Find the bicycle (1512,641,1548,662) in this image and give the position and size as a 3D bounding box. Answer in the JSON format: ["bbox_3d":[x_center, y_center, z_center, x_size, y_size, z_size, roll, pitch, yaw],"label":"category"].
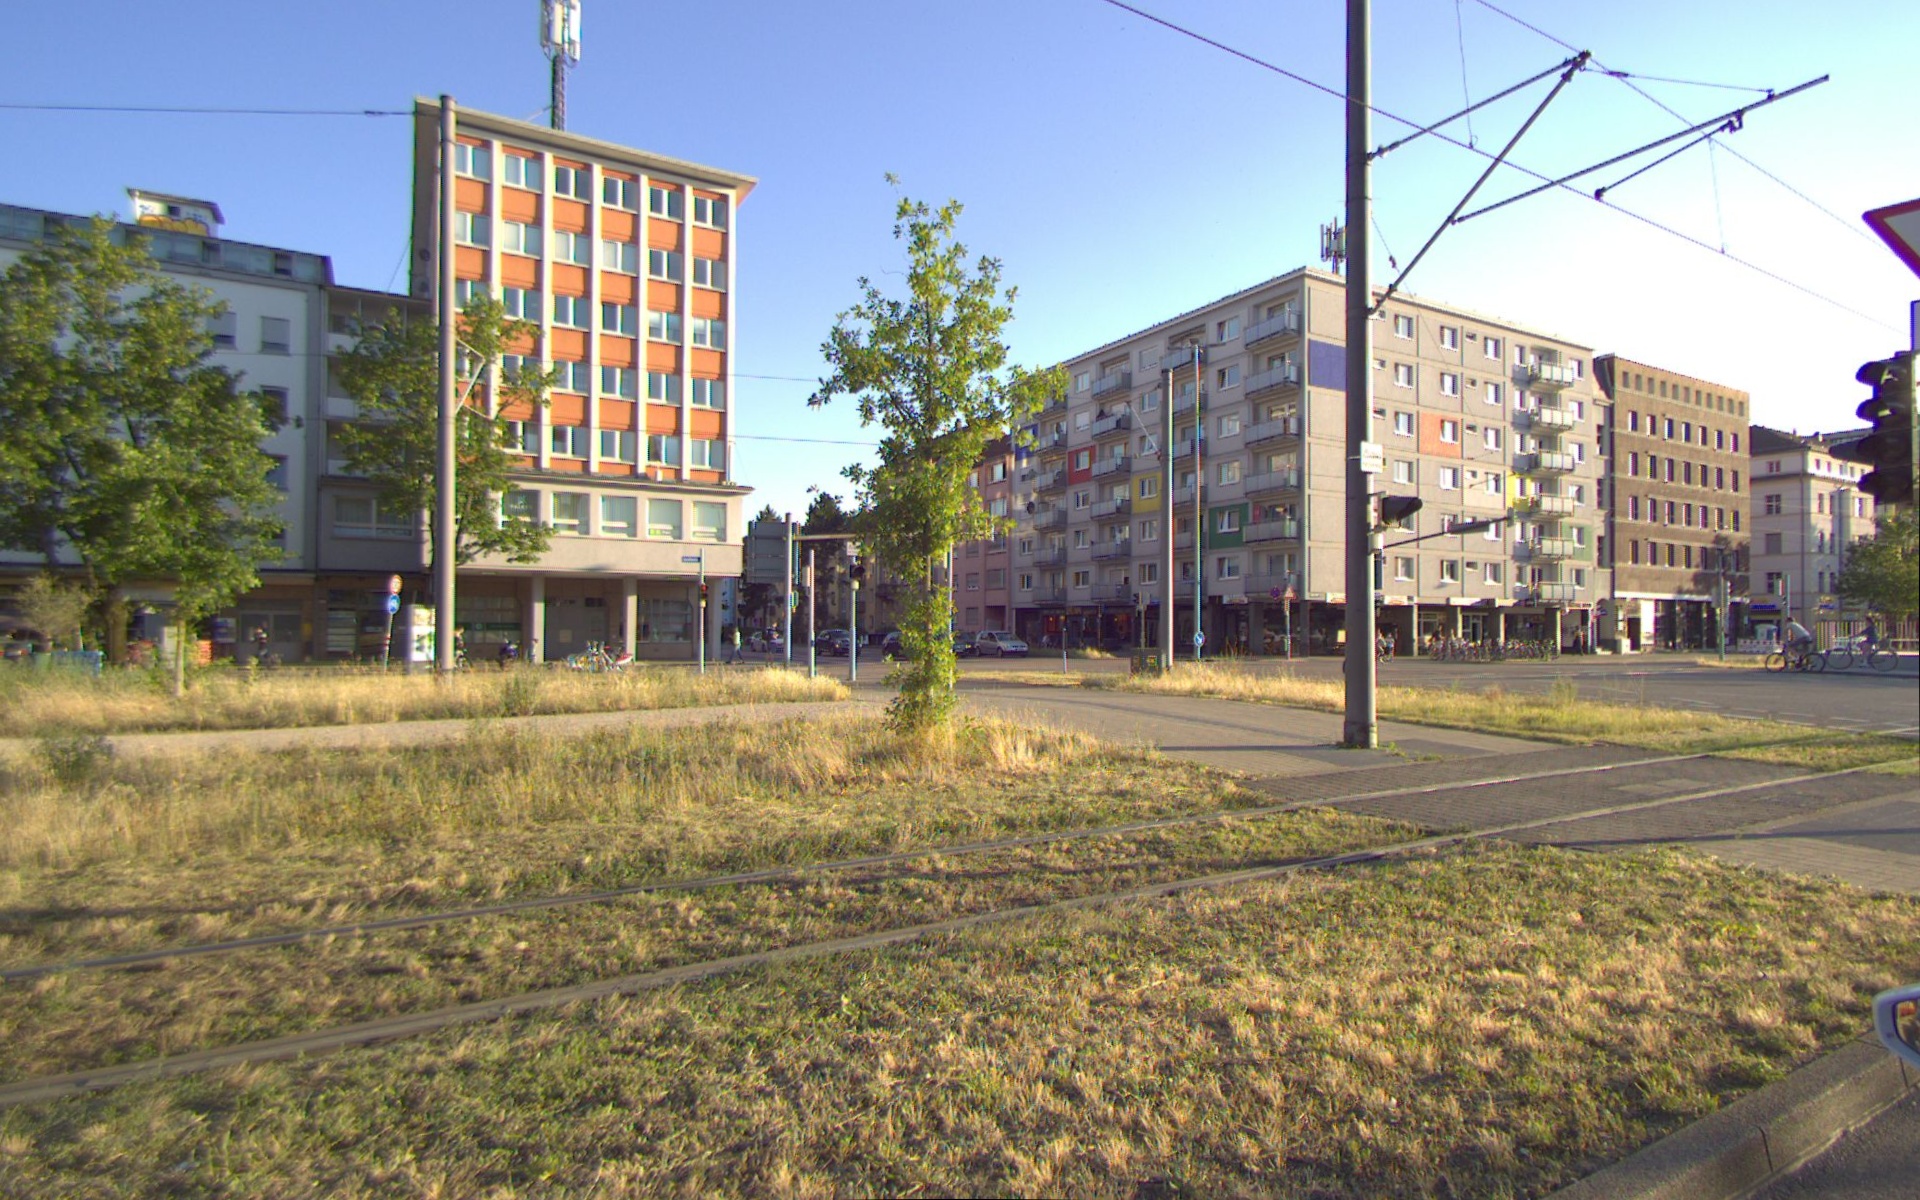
[{"bbox_3d":[32.052,2.876,56.526,0.561,1.134,1.753,1,-1,-29],"label":"bicycle"}]

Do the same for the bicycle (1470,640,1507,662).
[{"bbox_3d":[28.716,2.762,54.595,0.561,1.197,1.761,1,-1,-29],"label":"bicycle"}]

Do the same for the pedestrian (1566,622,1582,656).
[{"bbox_3d":[40.225,2.549,65.817,0.783,2.207,0.599,1,-1,-30],"label":"pedestrian"}]

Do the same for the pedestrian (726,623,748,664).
[{"bbox_3d":[-10.163,1.975,45.811,0.879,1.855,0.885,1,-1,-20],"label":"pedestrian"}]

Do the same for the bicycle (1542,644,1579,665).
[{"bbox_3d":[34.555,3.125,57.820,0.739,1.185,1.684,1,-1,-28],"label":"bicycle"}]

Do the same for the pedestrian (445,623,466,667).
[{"bbox_3d":[-20.467,1.828,40.758,0.690,1.774,0.646,1,-1,-30],"label":"pedestrian"}]

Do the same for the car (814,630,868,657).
[{"bbox_3d":[-7.311,2.630,61.454,1.975,1.551,3.971,1,-1,-28],"label":"car"}]

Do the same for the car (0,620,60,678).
[{"bbox_3d":[-30.083,1.435,30.238,3.927,1.706,1.997,1,-1,-9],"label":"car"}]

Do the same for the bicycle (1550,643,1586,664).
[{"bbox_3d":[35.198,3.097,58.153,0.688,1.159,1.684,1,-1,-28],"label":"bicycle"}]

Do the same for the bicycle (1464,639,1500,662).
[{"bbox_3d":[28.200,2.705,54.287,0.534,1.183,1.758,1,-1,-29],"label":"bicycle"}]

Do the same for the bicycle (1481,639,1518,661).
[{"bbox_3d":[30.172,2.805,56.199,0.598,1.174,1.768,1,-1,-29],"label":"bicycle"}]

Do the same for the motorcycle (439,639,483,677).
[{"bbox_3d":[-17.800,2.060,35.836,1.373,1.335,0.378,1,-1,-28],"label":"motorcycle"}]

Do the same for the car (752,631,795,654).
[{"bbox_3d":[-13.497,3.074,72.611,1.975,1.551,3.971,1,-1,-28],"label":"car"}]

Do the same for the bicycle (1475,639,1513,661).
[{"bbox_3d":[29.672,2.751,55.821,0.632,1.176,1.823,1,-2,-29],"label":"bicycle"}]

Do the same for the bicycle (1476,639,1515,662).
[{"bbox_3d":[29.264,2.765,54.914,0.644,1.206,1.780,1,-1,-30],"label":"bicycle"}]

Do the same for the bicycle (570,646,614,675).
[{"bbox_3d":[-14.128,2.306,38.620,1.543,1.089,0.392,1,-1,-31],"label":"bicycle"}]

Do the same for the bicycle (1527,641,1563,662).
[{"bbox_3d":[33.226,2.928,57.088,0.696,1.168,1.684,1,-1,-28],"label":"bicycle"}]

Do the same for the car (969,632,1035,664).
[{"bbox_3d":[2.274,2.631,55.485,1.974,1.506,3.973,2,0,-26],"label":"car"}]

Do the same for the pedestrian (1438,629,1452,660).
[{"bbox_3d":[26.837,2.440,55.570,0.543,1.706,0.573,1,-2,-44],"label":"pedestrian"}]

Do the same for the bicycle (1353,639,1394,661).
[{"bbox_3d":[18.276,2.191,44.420,1.635,0.957,0.509,0,-1,-2],"label":"bicycle"}]

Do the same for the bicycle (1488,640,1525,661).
[{"bbox_3d":[30.731,2.822,56.509,0.598,1.151,1.763,1,-1,-29],"label":"bicycle"}]

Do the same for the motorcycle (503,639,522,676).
[{"bbox_3d":[-17.025,2.178,38.162,0.538,1.335,1.823,1,-1,-27],"label":"motorcycle"}]

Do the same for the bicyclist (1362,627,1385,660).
[{"bbox_3d":[18.288,1.937,44.433,0.841,1.445,0.501,0,-1,-2],"label":"bicyclist"}]

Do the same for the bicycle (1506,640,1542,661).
[{"bbox_3d":[31.547,2.831,56.243,0.545,1.132,1.747,1,-1,-29],"label":"bicycle"}]

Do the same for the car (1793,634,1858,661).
[{"bbox_3d":[53.865,2.927,62.525,3.949,1.639,1.683,1,-3,-27],"label":"car"}]

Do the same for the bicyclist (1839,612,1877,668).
[{"bbox_3d":[30.156,1.337,33.730,0.533,1.842,0.869,1,-1,-39],"label":"bicyclist"}]

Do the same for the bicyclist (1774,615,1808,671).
[{"bbox_3d":[27.784,1.438,33.573,0.641,1.842,0.785,1,-2,-42],"label":"bicyclist"}]

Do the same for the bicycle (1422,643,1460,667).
[{"bbox_3d":[25.816,2.936,53.955,0.631,1.224,1.786,1,-1,-30],"label":"bicycle"}]

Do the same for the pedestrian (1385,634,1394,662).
[{"bbox_3d":[22.156,2.478,51.845,0.376,1.401,0.394,0,-1,32],"label":"pedestrian"}]

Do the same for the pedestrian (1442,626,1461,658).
[{"bbox_3d":[28.746,2.431,58.719,0.728,1.866,0.780,1,-2,-38],"label":"pedestrian"}]

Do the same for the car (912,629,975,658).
[{"bbox_3d":[-0.956,2.391,55.737,1.974,1.505,3.974,1,-2,-26],"label":"car"}]

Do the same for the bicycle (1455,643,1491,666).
[{"bbox_3d":[27.637,2.924,54.131,0.592,1.154,1.749,1,-1,-29],"label":"bicycle"}]

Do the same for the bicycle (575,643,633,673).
[{"bbox_3d":[-13.261,2.159,37.438,1.972,1.089,0.465,1,-1,-31],"label":"bicycle"}]

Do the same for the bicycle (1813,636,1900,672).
[{"bbox_3d":[30.110,1.798,33.764,0.534,1.098,2.147,2,-1,-38],"label":"bicycle"}]

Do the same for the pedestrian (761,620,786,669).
[{"bbox_3d":[-7.617,1.814,40.946,0.708,1.972,0.720,-1,-2,43],"label":"pedestrian"}]

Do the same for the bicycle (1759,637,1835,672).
[{"bbox_3d":[27.870,1.802,33.480,0.628,1.089,1.883,1,-2,-42],"label":"bicycle"}]

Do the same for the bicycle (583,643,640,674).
[{"bbox_3d":[-12.525,2.081,36.104,1.885,1.089,0.465,1,-1,-31],"label":"bicycle"}]

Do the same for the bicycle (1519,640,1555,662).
[{"bbox_3d":[32.611,2.880,56.814,0.626,1.139,1.720,2,-2,-28],"label":"bicycle"}]

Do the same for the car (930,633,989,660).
[{"bbox_3d":[-0.080,2.748,59.418,1.974,1.505,3.974,1,-2,-26],"label":"car"}]

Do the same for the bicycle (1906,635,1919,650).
[{"bbox_3d":[77.594,3.434,81.257,2.382,1.217,0.809,1,-2,-28],"label":"bicycle"}]

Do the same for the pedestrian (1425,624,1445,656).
[{"bbox_3d":[28.199,2.368,59.584,0.715,1.837,0.819,1,1,-40],"label":"pedestrian"}]

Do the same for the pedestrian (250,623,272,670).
[{"bbox_3d":[-27.378,1.818,39.365,0.623,1.792,0.593,1,-1,-30],"label":"pedestrian"}]

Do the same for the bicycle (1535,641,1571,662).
[{"bbox_3d":[33.895,2.937,57.436,0.739,1.194,1.684,1,-1,-28],"label":"bicycle"}]

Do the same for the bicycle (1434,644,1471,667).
[{"bbox_3d":[26.708,2.996,54.455,0.601,1.157,1.768,1,-1,-29],"label":"bicycle"}]

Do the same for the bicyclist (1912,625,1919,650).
[{"bbox_3d":[77.815,3.008,81.362,0.912,2.040,0.794,1,-1,-28],"label":"bicyclist"}]
